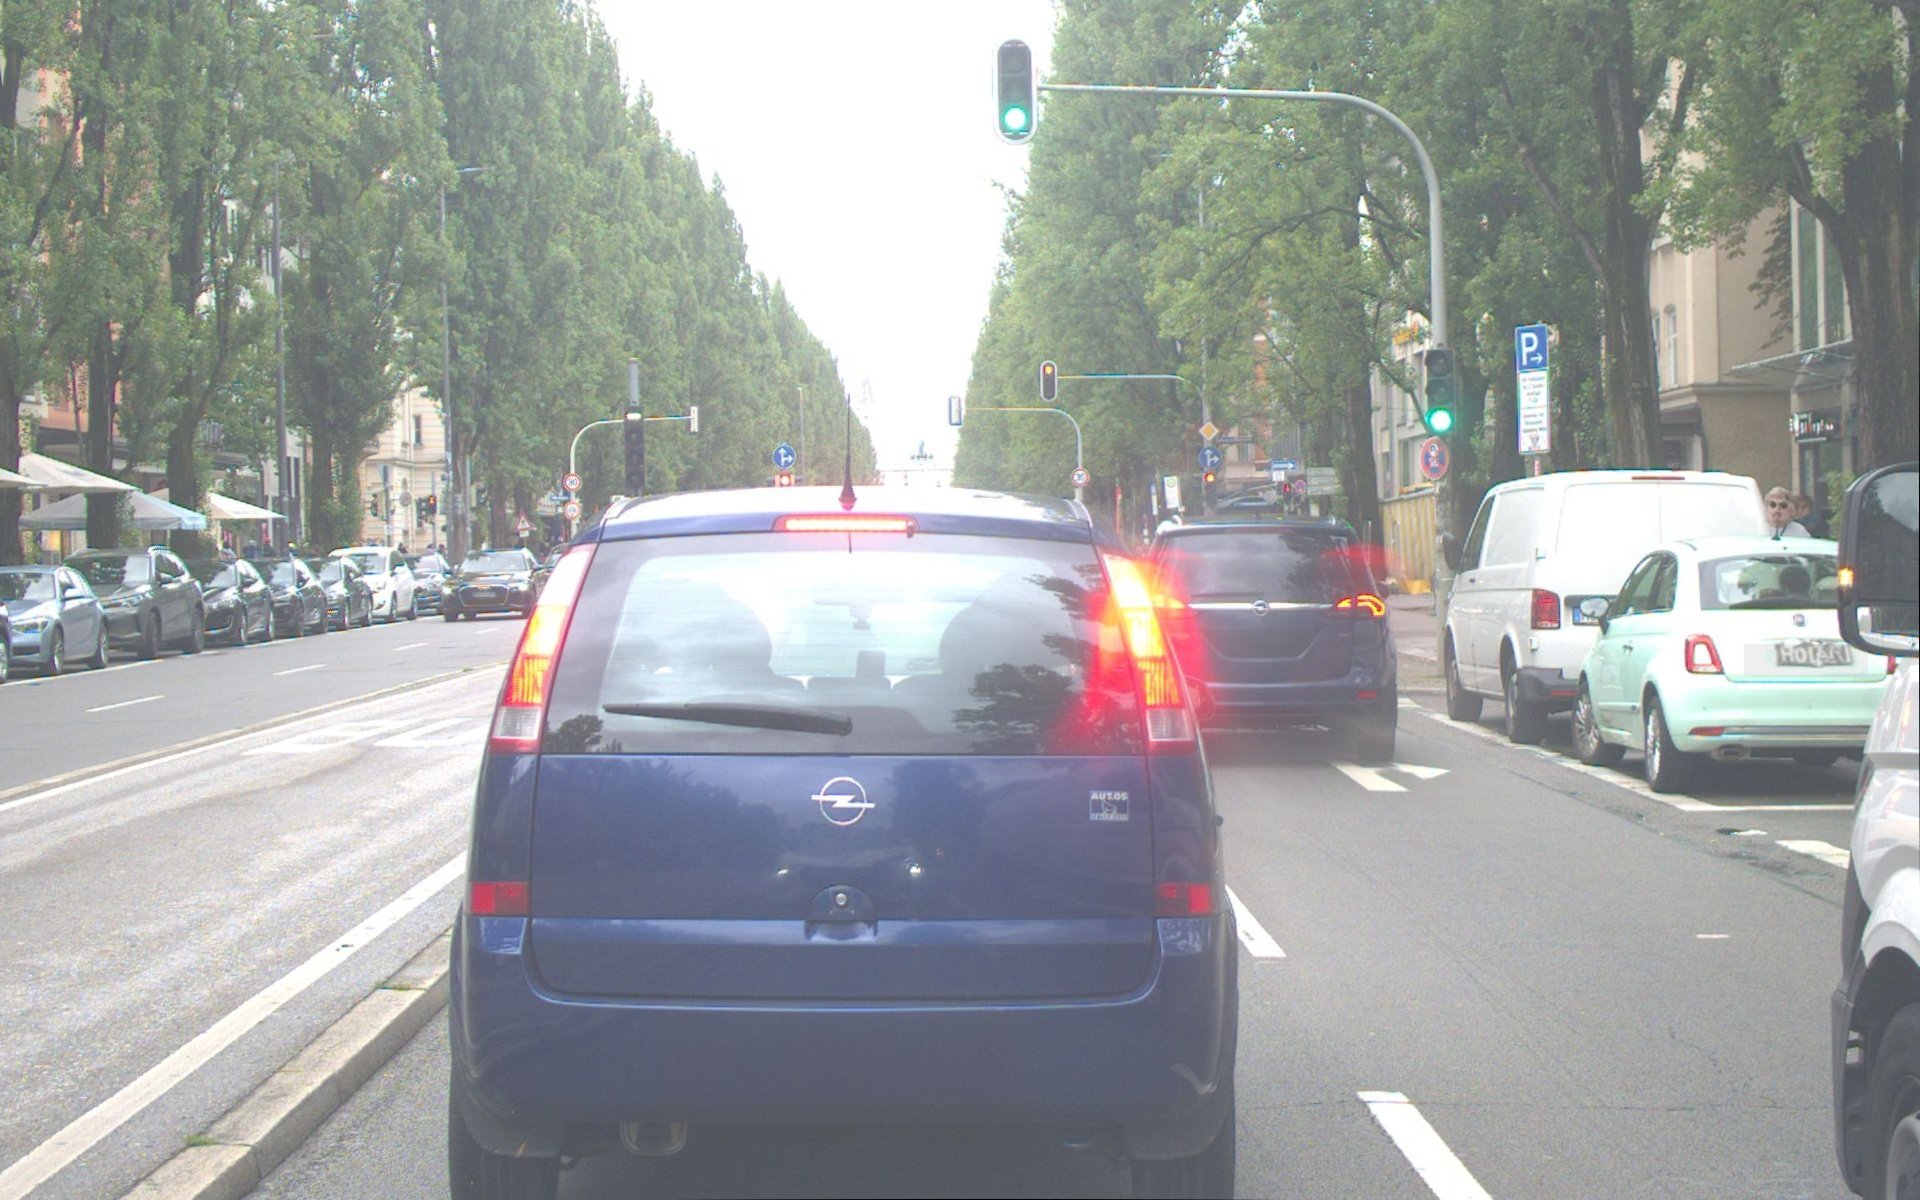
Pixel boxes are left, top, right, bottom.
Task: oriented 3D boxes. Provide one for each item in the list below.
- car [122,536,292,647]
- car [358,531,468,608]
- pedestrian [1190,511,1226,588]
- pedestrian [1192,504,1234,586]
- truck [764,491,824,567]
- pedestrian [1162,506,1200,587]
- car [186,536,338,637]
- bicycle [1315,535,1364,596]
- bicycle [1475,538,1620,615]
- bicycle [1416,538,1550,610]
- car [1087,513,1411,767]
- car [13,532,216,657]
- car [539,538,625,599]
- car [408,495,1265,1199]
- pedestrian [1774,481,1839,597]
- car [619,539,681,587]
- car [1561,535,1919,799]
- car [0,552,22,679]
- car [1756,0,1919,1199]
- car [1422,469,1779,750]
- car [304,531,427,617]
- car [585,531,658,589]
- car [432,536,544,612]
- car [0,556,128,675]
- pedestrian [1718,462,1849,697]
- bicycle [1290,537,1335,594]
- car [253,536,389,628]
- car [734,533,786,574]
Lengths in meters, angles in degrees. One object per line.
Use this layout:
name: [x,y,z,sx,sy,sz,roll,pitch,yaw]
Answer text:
car: [-12.381,-0.173,56.772,1.866,1.660,4.120,-3,1,-1]
car: [-12.685,-0.736,79.892,1.866,1.660,4.120,-3,1,-1]
pedestrian: [5.889,-1.198,81.769,0.636,1.820,0.888,1,1,-10]
pedestrian: [5.699,-1.239,77.575,0.719,1.820,0.888,1,1,-10]
truck: [-7.508,-3.246,156.201,2.383,3.335,7.111,-1,1,-1]
pedestrian: [4.986,-1.202,77.443,0.636,1.820,0.888,1,1,-10]
car: [-12.511,-0.271,61.832,1.866,1.660,4.120,-3,1,-1]
bicycle: [8.467,-0.783,76.833,0.772,1.344,2.449,-1,1,-1]
bicycle: [9.610,-0.393,56.245,2.227,1.200,0.627,-1,1,-2]
bicycle: [9.204,-0.464,60.536,2.227,1.200,0.627,-1,1,-2]
car: [1.917,0.214,23.930,1.896,1.616,4.000,0,1,0]
car: [-12.339,-0.118,50.454,1.866,1.660,4.401,-3,1,-1]
car: [-9.638,-0.815,87.891,1.745,1.429,4.130,-3,1,-1]
car: [-0.252,0.534,8.720,1.671,1.563,4.000,0,1,0]
pedestrian: [12.532,-0.897,50.903,0.673,1.680,0.759,-2,0,-5]
car: [-11.032,-1.328,122.589,1.866,1.660,4.120,-1,1,-1]
car: [4.786,0.351,21.214,1.541,1.487,3.523,0,1,0]
car: [-12.224,0.249,39.289,1.798,1.483,4.351,-3,1,-1]
car: [2.632,0.226,3.465,2.063,2.484,6.731,0,1,0]
car: [4.772,0.014,26.268,1.787,1.939,4.731,0,1,-1]
car: [-12.519,-0.576,72.618,1.866,1.660,4.120,-3,1,-1]
car: [-9.941,-1.195,101.163,1.770,1.629,4.456,-2,1,-1]
car: [-9.966,-0.574,72.842,1.697,1.457,4.713,-3,1,-1]
car: [-12.254,0.192,44.933,1.733,1.421,4.144,-3,1,-1]
pedestrian: [6.333,-0.162,26.483,0.827,1.767,0.870,-1,1,4]
bicycle: [8.516,-0.844,83.073,0.772,1.344,2.449,-1,1,-1]
car: [-12.470,-0.387,67.358,1.866,1.660,4.120,-3,1,-1]
car: [-7.365,-1.714,126.848,1.735,1.460,3.365,-1,1,-1]
